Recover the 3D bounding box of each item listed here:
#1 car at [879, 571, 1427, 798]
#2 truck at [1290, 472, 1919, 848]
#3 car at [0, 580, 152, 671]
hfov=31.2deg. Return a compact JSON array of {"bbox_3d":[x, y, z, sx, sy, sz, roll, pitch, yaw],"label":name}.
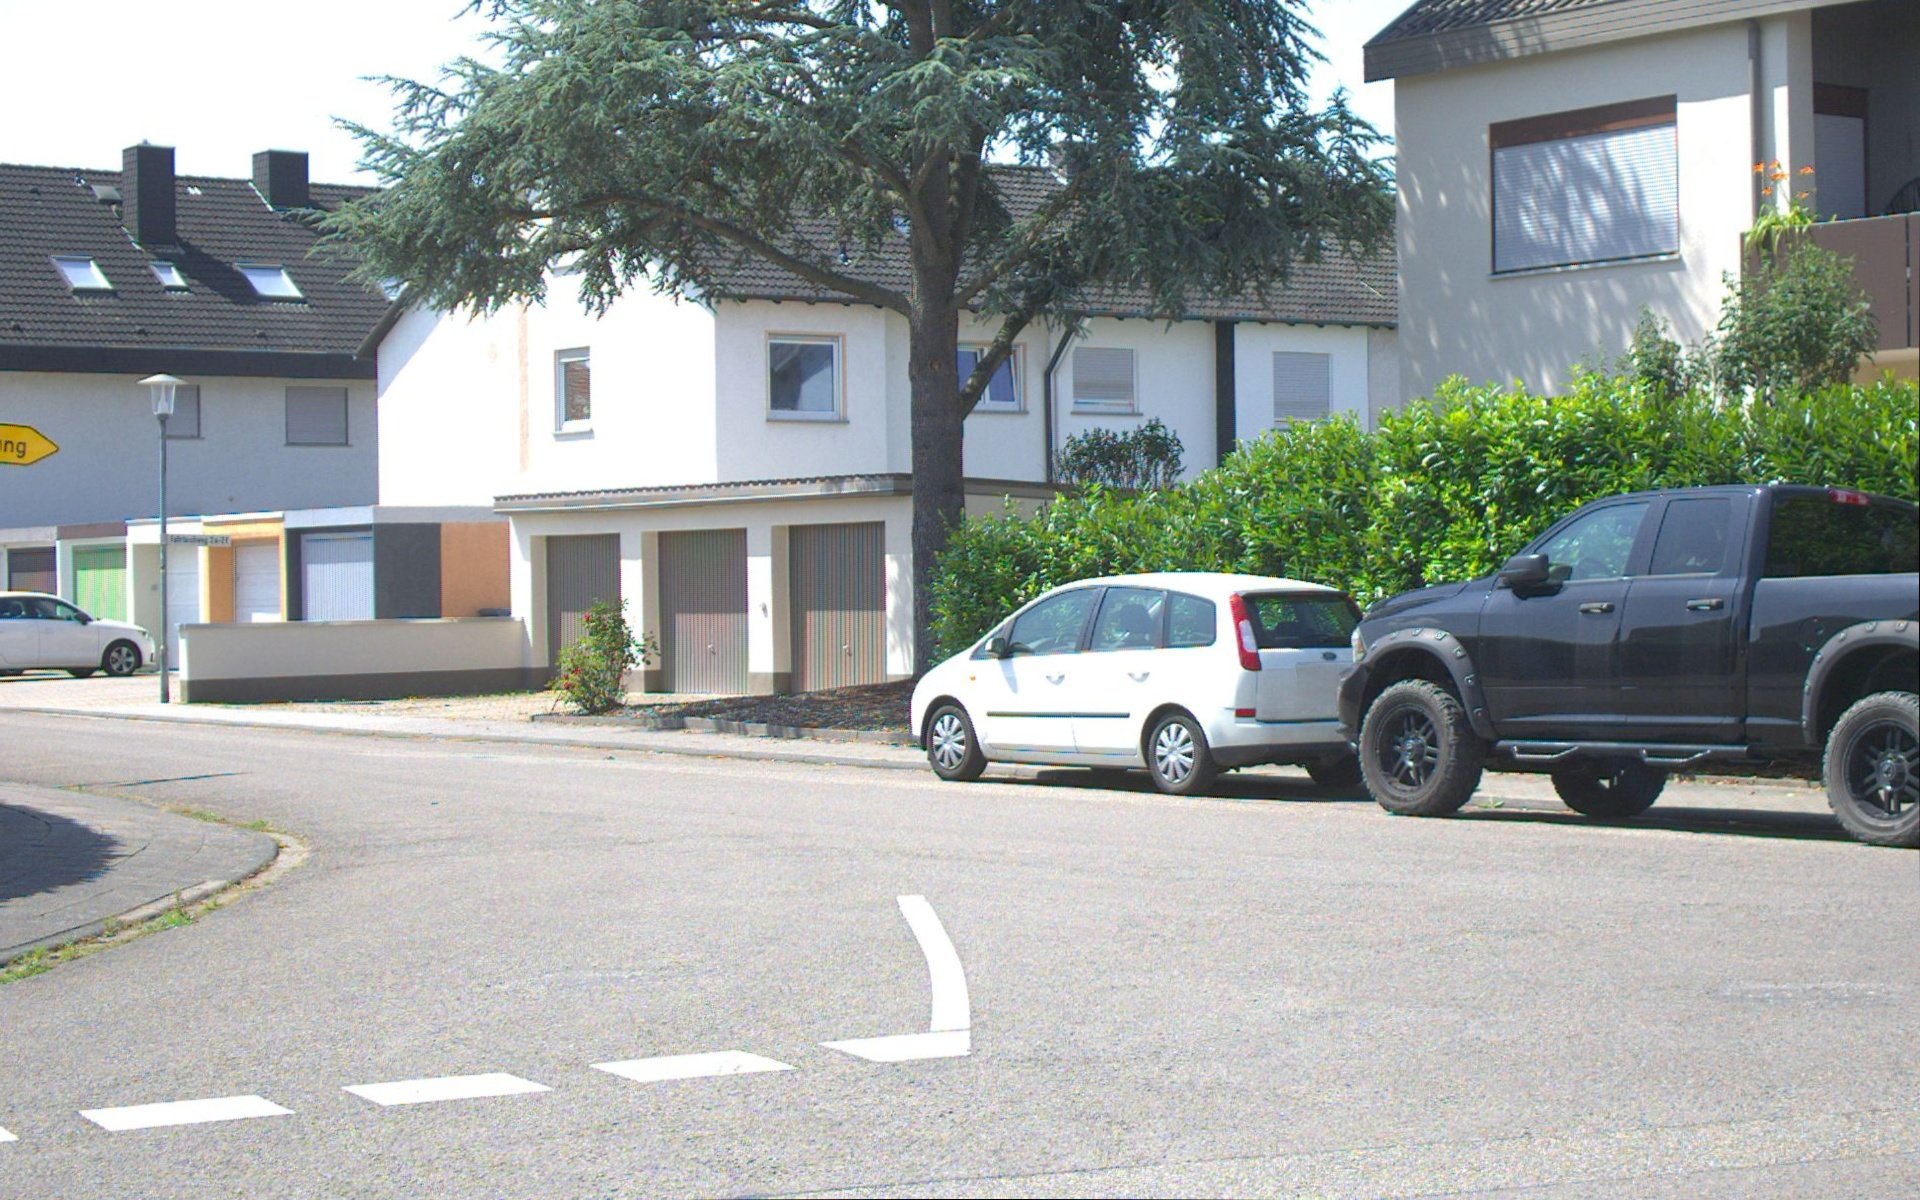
[{"bbox_3d":[1.371,0.578,25.898,1.798,1.558,4.142,-1,1,-39],"label":"car"},{"bbox_3d":[4.856,0.360,20.482,2.364,2.007,5.710,2,-2,-40],"label":"truck"},{"bbox_3d":[-15.094,0.402,55.404,3.600,1.404,1.783,-1,0,-37],"label":"car"}]
